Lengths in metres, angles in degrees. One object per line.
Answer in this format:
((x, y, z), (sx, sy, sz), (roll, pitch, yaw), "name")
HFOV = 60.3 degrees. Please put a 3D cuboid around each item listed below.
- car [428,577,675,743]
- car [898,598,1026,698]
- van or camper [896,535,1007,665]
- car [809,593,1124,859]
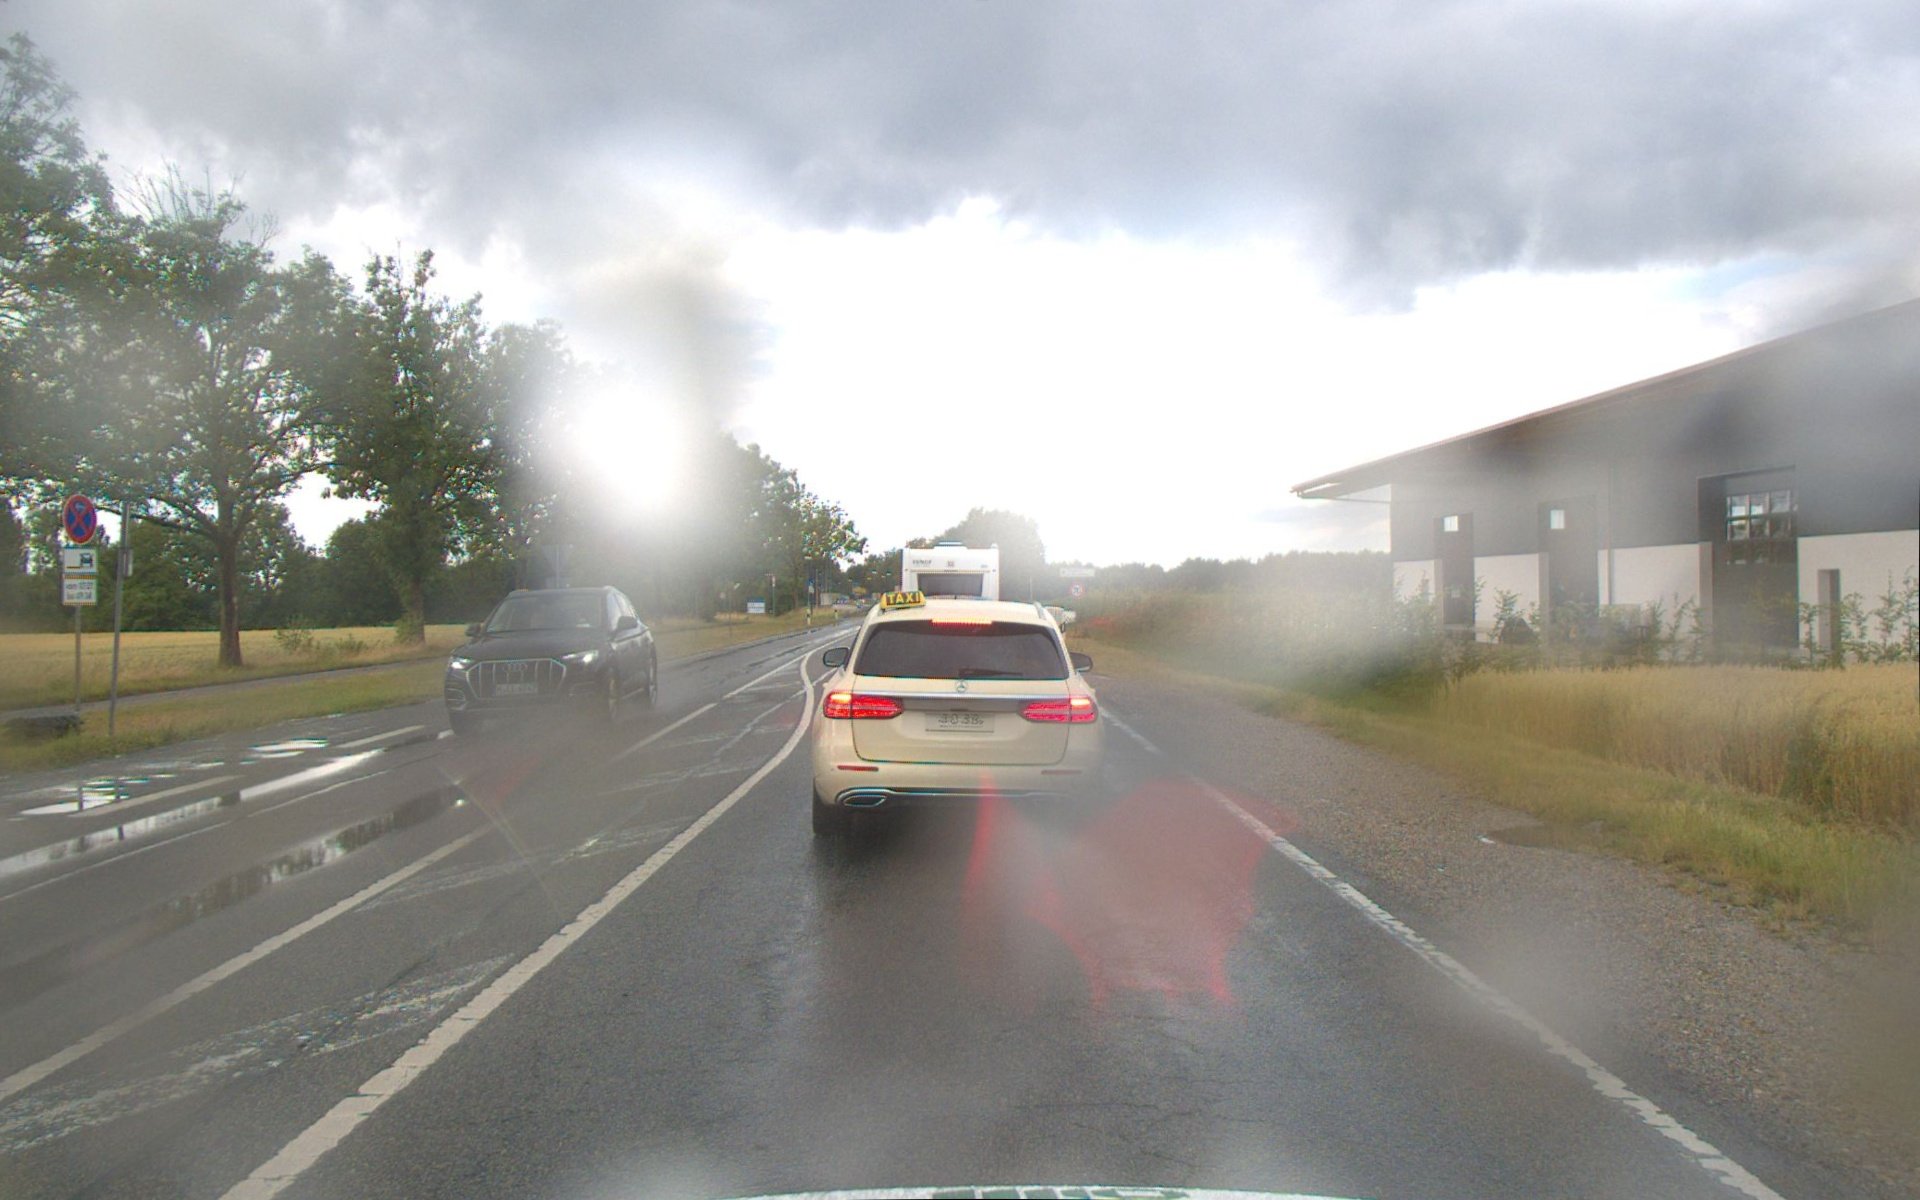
((-4.809, 0.652, 20.127), (1.878, 1.660, 4.356), (-4, 0, -1), "car")
((-0.024, 0.695, 26.123), (1.856, 1.454, 3.926), (0, 0, -2), "car")
((-0.180, -0.003, 40.487), (2.446, 2.880, 5.933), (-2, 0, 0), "van or camper")
((0.025, 0.701, 11.286), (1.760, 1.490, 4.030), (0, 0, 0), "car")
